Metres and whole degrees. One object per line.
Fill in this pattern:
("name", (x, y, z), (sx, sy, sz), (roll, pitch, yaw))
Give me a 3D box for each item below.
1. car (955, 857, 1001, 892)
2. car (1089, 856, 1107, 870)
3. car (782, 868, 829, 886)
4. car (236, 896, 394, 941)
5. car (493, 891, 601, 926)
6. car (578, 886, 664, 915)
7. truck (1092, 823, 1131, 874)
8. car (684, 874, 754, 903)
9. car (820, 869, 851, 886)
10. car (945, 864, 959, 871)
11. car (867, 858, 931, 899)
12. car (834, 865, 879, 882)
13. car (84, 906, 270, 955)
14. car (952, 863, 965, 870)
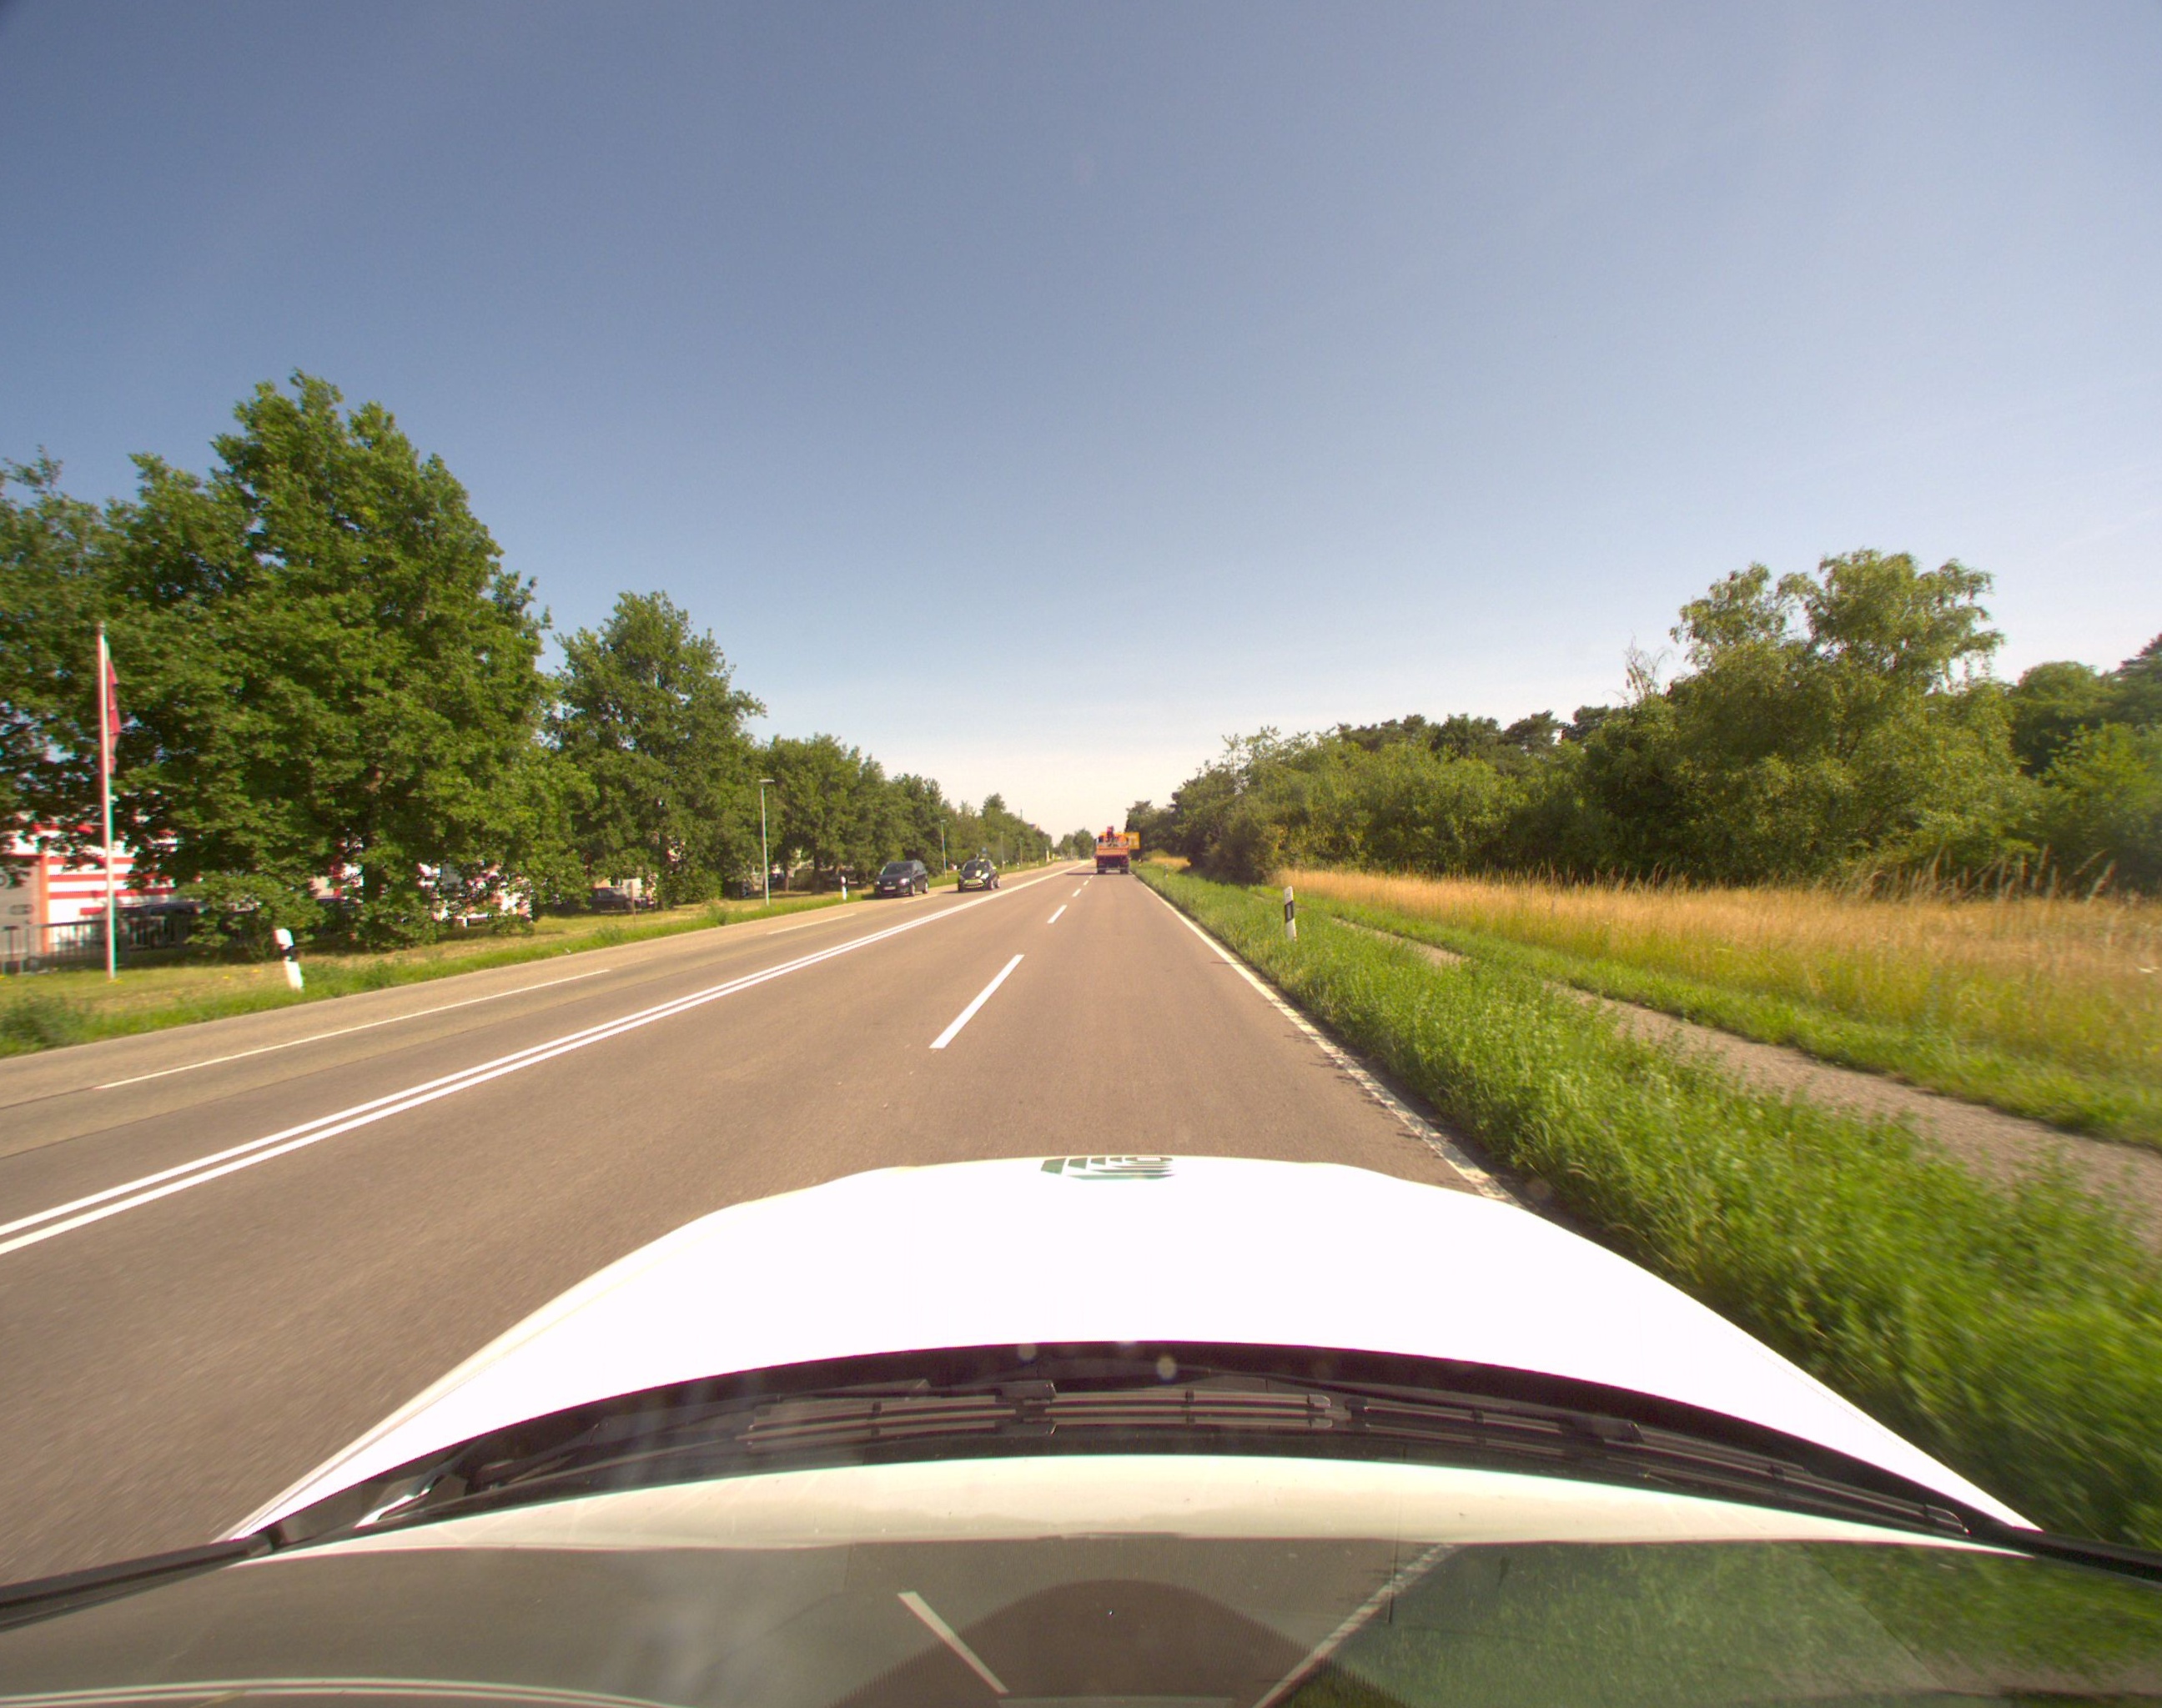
("car", (-4.908, 0.949, 39.177), (1.511, 1.450, 3.777), (-4, 0, 2))
("car", (1.991, 1.062, 97.455), (1.987, 1.583, 4.000), (-2, 0, 0))
("car", (-32.771, 2.725, 97.065), (2.047, 1.806, 5.048), (-3, -1, 32))
("car", (-30.055, 2.484, 32.199), (1.782, 1.349, 4.662), (-4, 0, 0))
("car", (-27.747, 2.804, 42.404), (4.334, 1.325, 1.858), (-6, -1, 1))
("car", (-27.341, 2.750, 48.462), (3.971, 1.306, 1.864), (-4, 0, 2))
("truck", (2.377, -0.385, 65.785), (2.863, 3.880, 7.398), (0, 0, 0))
("car", (-27.226, 2.574, 61.348), (4.207, 1.730, 2.001), (-5, 0, 1))
("car", (-26.174, 2.504, 87.048), (1.922, 1.652, 4.192), (-3, 0, 1))
("car", (-28.291, 2.990, 178.339), (1.985, 1.437, 4.959), (-3, 0, 3))
("car", (-8.392, 1.083, 37.942), (1.819, 1.671, 4.390), (-4, 0, 1))
("car", (-26.886, 2.358, 97.691), (2.047, 1.806, 5.048), (-3, -1, 32))
("car", (-34.013, 2.826, 30.893), (1.782, 1.349, 4.662), (-4, 0, 0))
("car", (-28.336, 2.985, 188.310), (1.986, 1.437, 4.612), (-3, 0, 2))
